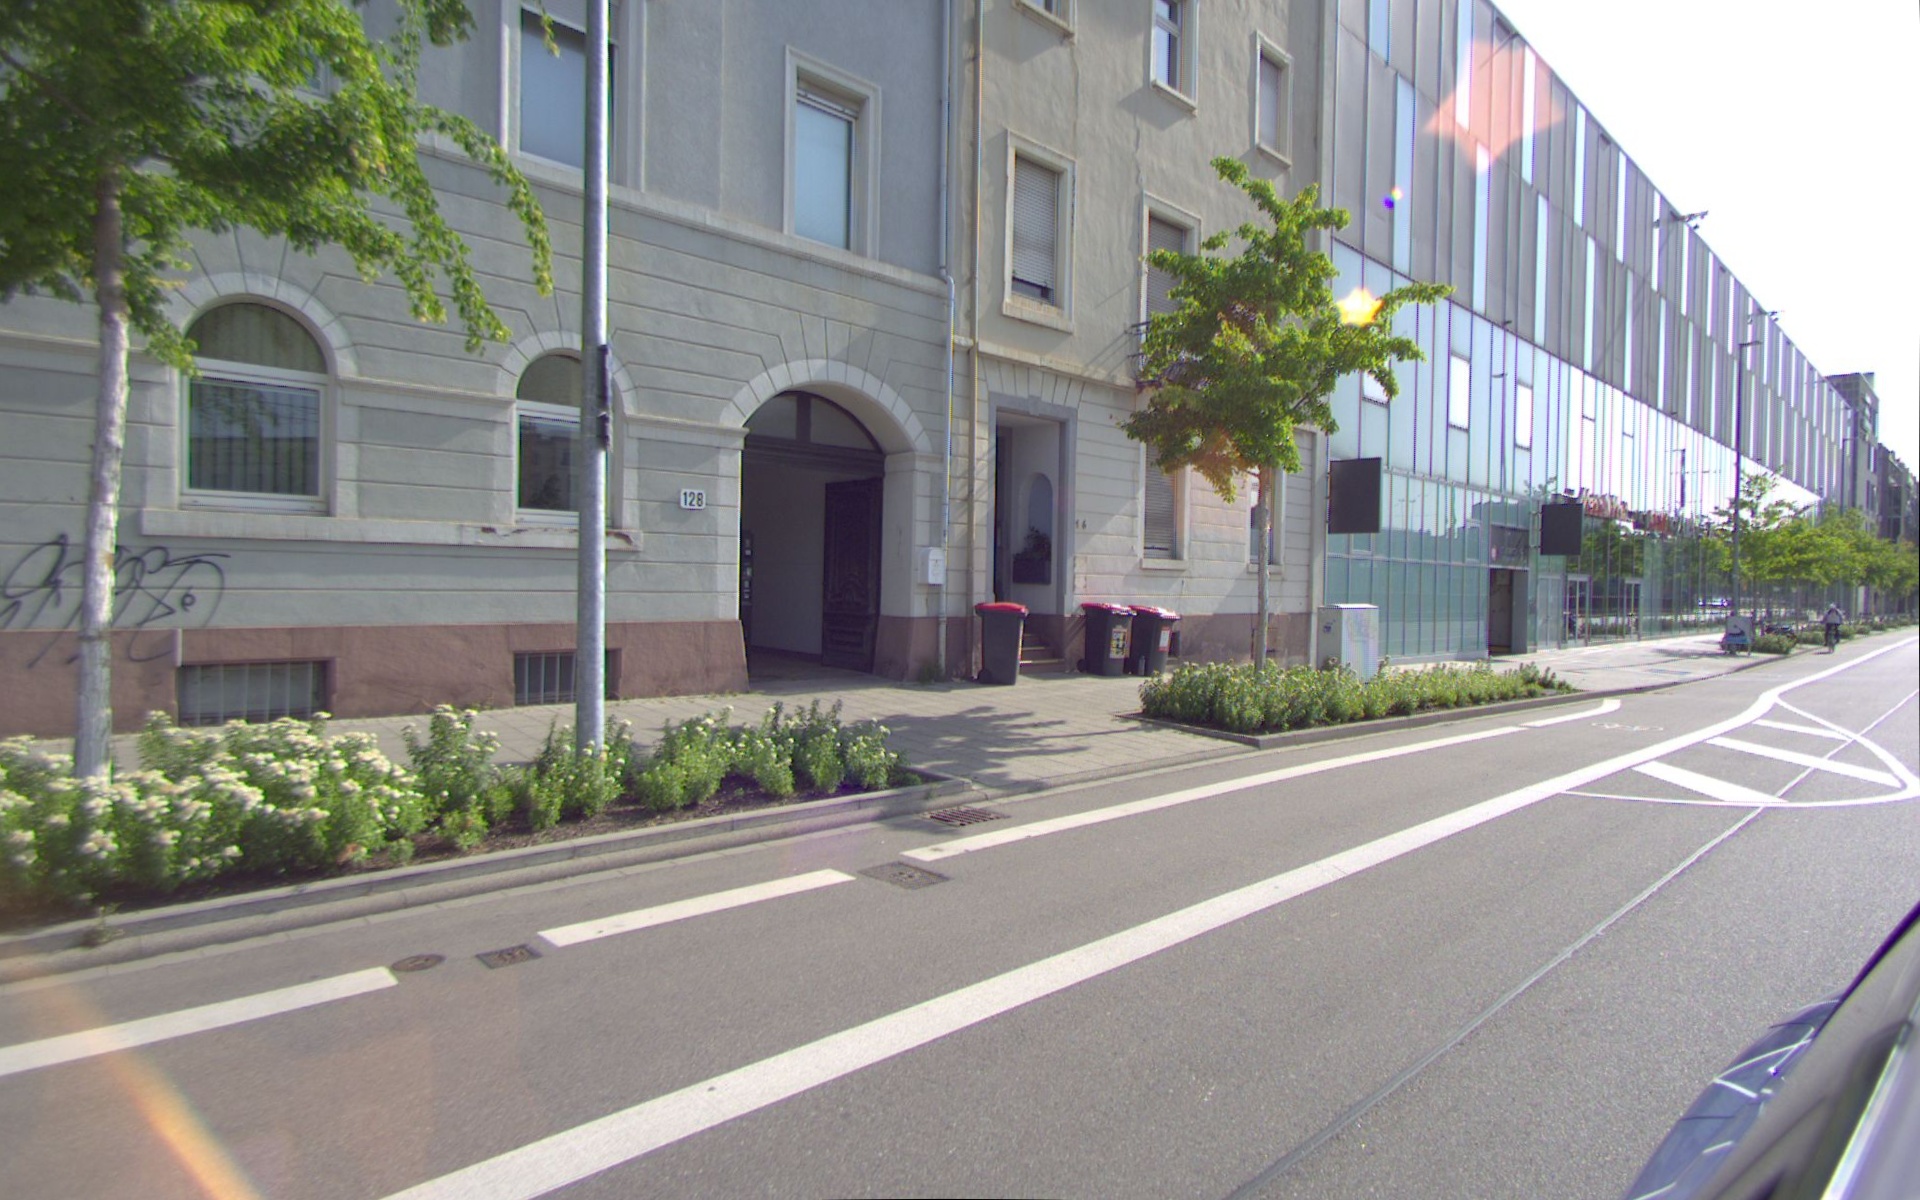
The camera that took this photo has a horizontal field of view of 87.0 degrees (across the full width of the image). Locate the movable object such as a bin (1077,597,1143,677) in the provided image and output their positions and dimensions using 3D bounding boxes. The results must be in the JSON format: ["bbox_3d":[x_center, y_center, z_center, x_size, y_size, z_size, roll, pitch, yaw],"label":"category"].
[{"bbox_3d":[2.273,0.549,15.381,0.659,1.167,0.705,3,-2,-43],"label":"movable object such as a bin"}]

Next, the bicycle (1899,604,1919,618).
[{"bbox_3d":[77.415,0.914,82.004,0.481,1.123,1.882,1,1,-40],"label":"bicycle"}]

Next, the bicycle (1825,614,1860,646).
[{"bbox_3d":[32.940,1.117,37.752,2.014,1.131,0.662,1,1,-40],"label":"bicycle"}]

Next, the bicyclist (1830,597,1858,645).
[{"bbox_3d":[33.047,0.773,37.830,0.755,1.771,0.652,1,0,-40],"label":"bicyclist"}]

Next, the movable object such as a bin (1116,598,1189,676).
[{"bbox_3d":[3.036,0.577,15.958,0.794,1.187,0.782,3,-2,-43],"label":"movable object such as a bin"}]

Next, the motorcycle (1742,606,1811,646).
[{"bbox_3d":[30.700,0.955,38.077,1.964,1.366,0.856,2,1,38],"label":"motorcycle"}]

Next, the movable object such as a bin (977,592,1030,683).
[{"bbox_3d":[0.587,0.499,13.652,0.659,1.167,0.617,2,-1,4],"label":"movable object such as a bin"}]

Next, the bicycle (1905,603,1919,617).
[{"bbox_3d":[80.447,0.841,84.774,0.675,1.127,1.843,1,-1,-40],"label":"bicycle"}]
